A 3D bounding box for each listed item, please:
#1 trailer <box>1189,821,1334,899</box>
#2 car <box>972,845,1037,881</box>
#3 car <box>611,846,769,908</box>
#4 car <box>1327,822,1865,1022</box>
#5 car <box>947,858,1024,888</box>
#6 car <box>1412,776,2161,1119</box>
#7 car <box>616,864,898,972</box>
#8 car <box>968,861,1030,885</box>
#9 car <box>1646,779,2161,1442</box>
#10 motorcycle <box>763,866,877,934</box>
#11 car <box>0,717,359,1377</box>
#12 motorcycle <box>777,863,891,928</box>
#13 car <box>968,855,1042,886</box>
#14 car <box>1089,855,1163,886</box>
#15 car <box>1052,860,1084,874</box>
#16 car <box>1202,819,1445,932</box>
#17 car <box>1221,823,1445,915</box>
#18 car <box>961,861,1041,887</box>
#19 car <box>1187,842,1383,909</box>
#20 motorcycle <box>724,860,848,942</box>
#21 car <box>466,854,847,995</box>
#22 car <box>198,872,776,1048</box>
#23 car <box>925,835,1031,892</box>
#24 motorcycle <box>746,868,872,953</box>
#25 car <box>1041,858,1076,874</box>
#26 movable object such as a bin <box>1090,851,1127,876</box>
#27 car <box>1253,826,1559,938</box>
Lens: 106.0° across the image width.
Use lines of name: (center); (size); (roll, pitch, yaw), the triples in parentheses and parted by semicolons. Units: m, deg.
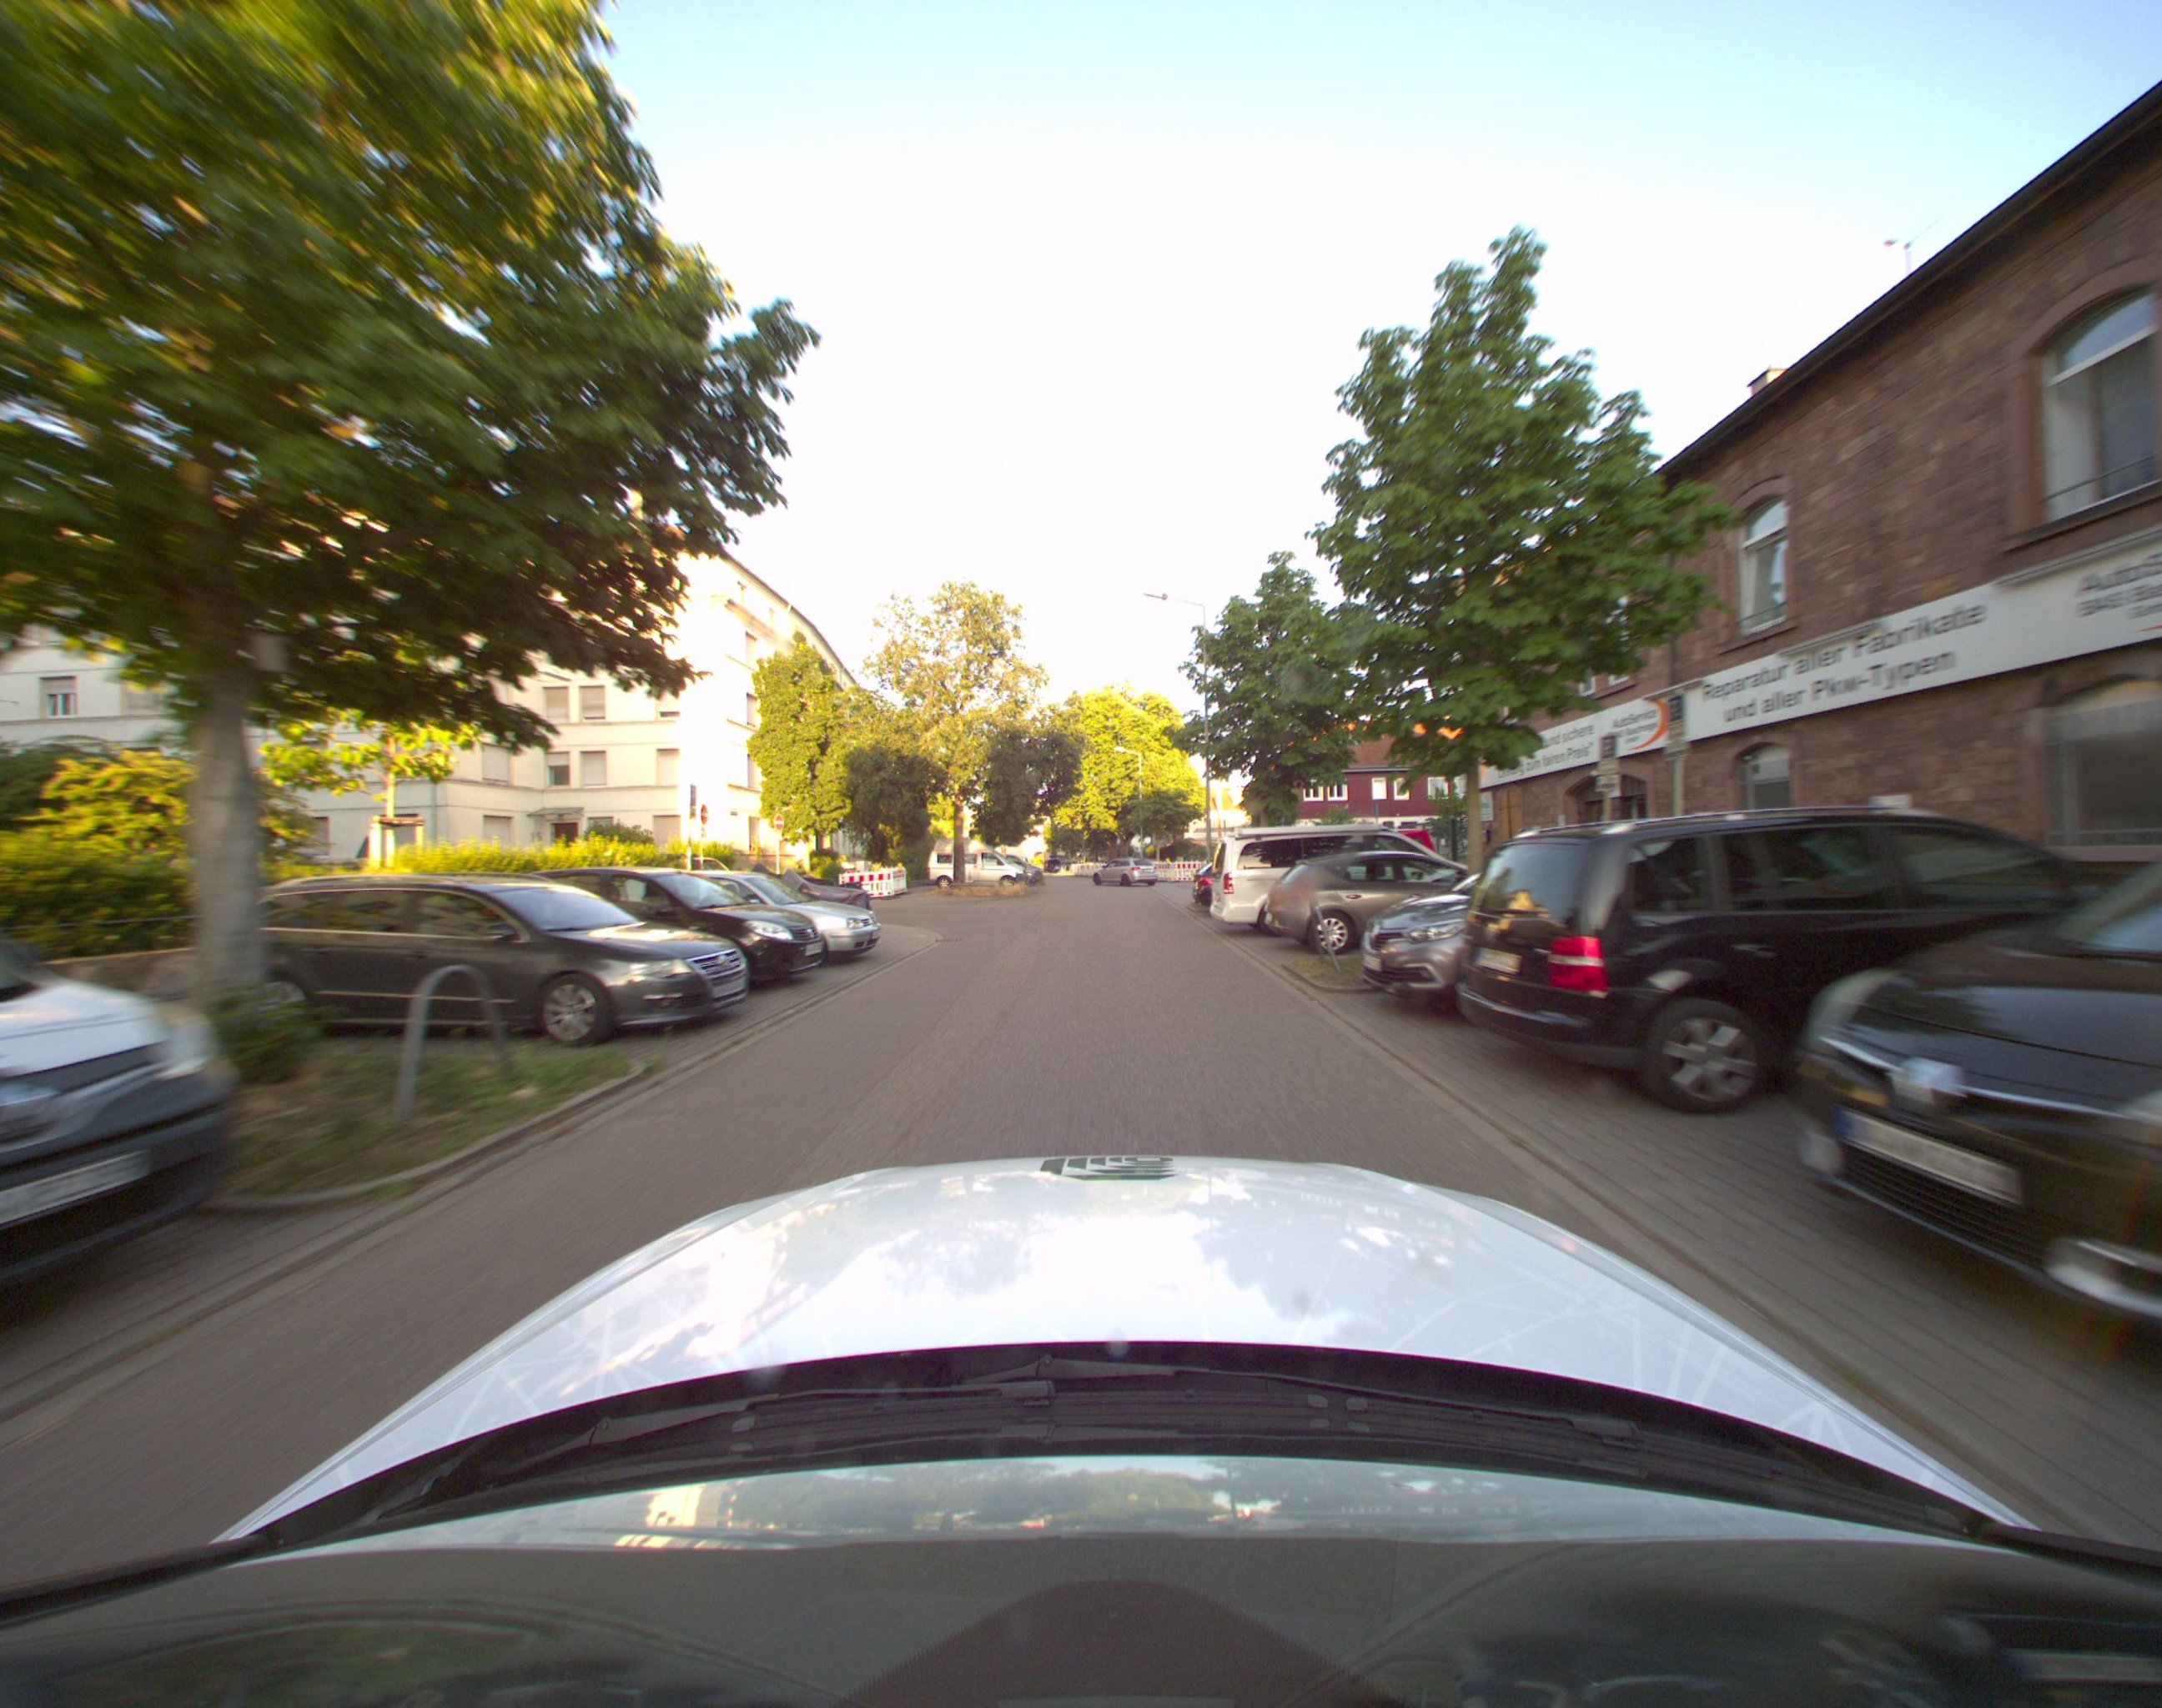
trailer: (5.376, 0.175, 24.722); (3.971, 2.187, 2.001); (-1, -1, 2)
car: (-5.468, 0.638, 58.396); (4.495, 2.431, 1.996); (-1, -1, -5)
car: (-13.709, 0.792, 28.775); (4.560, 2.014, 2.000); (-1, -1, 1)
car: (4.573, 0.565, 7.684); (3.934, 1.565, 1.820); (-1, -1, -2)
car: (-4.956, 0.997, 42.641); (3.793, 1.522, 1.651); (0, -1, -2)
car: (4.584, 0.493, 5.356); (3.973, 1.618, 1.895); (-4, -1, 1)
car: (-4.960, 0.955, 12.771); (3.696, 1.506, 1.692); (-1, -1, 4)
car: (-5.052, 1.158, 50.593); (3.761, 1.439, 1.653); (-1, -1, -4)
car: (4.799, 0.465, 2.689); (4.399, 1.575, 1.982); (-5, 0, 1)
motorcycle: (-5.736, 1.004, 17.965); (2.220, 1.436, 0.775); (-1, -1, 5)
car: (-5.601, 0.554, 2.874); (4.490, 2.070, 2.003); (1, 1, 6)
motorcycle: (-5.762, 0.965, 19.082); (2.371, 1.436, 0.882); (-1, -1, 5)
car: (-4.910, 1.053, 53.082); (4.666, 1.874, 1.996); (-1, -1, -5)
car: (2.262, 0.835, 41.890); (1.820, 1.488, 3.958); (-1, 0, -34)
car: (-1.738, 1.746, 109.755); (3.998, 1.651, 1.754); (-1, -1, -18)
car: (4.403, 0.386, 15.288); (3.972, 1.904, 2.001); (-1, -1, 1)
car: (5.338, 0.314, 17.682); (4.284, 1.799, 1.905); (-1, -1, 2)
car: (-4.436, 1.113, 45.428); (4.229, 1.394, 1.684); (-1, -1, 0)
car: (4.930, 0.512, 20.103); (4.410, 1.499, 1.774); (-1, -1, 2)
motorcycle: (-5.989, 0.938, 16.582); (2.220, 1.582, 0.775); (-1, -1, 5)
car: (-5.287, 0.847, 10.458); (3.969, 1.583, 1.730); (-1, -1, 4)
car: (-5.484, 0.913, 7.908); (4.307, 1.405, 1.853); (0, -1, 4)
car: (-4.879, 0.452, 39.069); (4.712, 2.569, 2.001); (-1, -1, 2)
motorcycle: (-4.850, 0.997, 14.617); (1.981, 1.436, 0.721); (-1, -1, -3)
car: (-3.114, 1.689, 114.489); (4.566, 2.023, 2.090); (-1, -1, -16)
movable object such as a bin: (2.775, 1.008, 83.336); (2.630, 2.403, 5.175); (-1, -1, -12)
car: (4.793, 0.412, 12.456); (3.971, 1.510, 1.777); (-1, -1, 2)
